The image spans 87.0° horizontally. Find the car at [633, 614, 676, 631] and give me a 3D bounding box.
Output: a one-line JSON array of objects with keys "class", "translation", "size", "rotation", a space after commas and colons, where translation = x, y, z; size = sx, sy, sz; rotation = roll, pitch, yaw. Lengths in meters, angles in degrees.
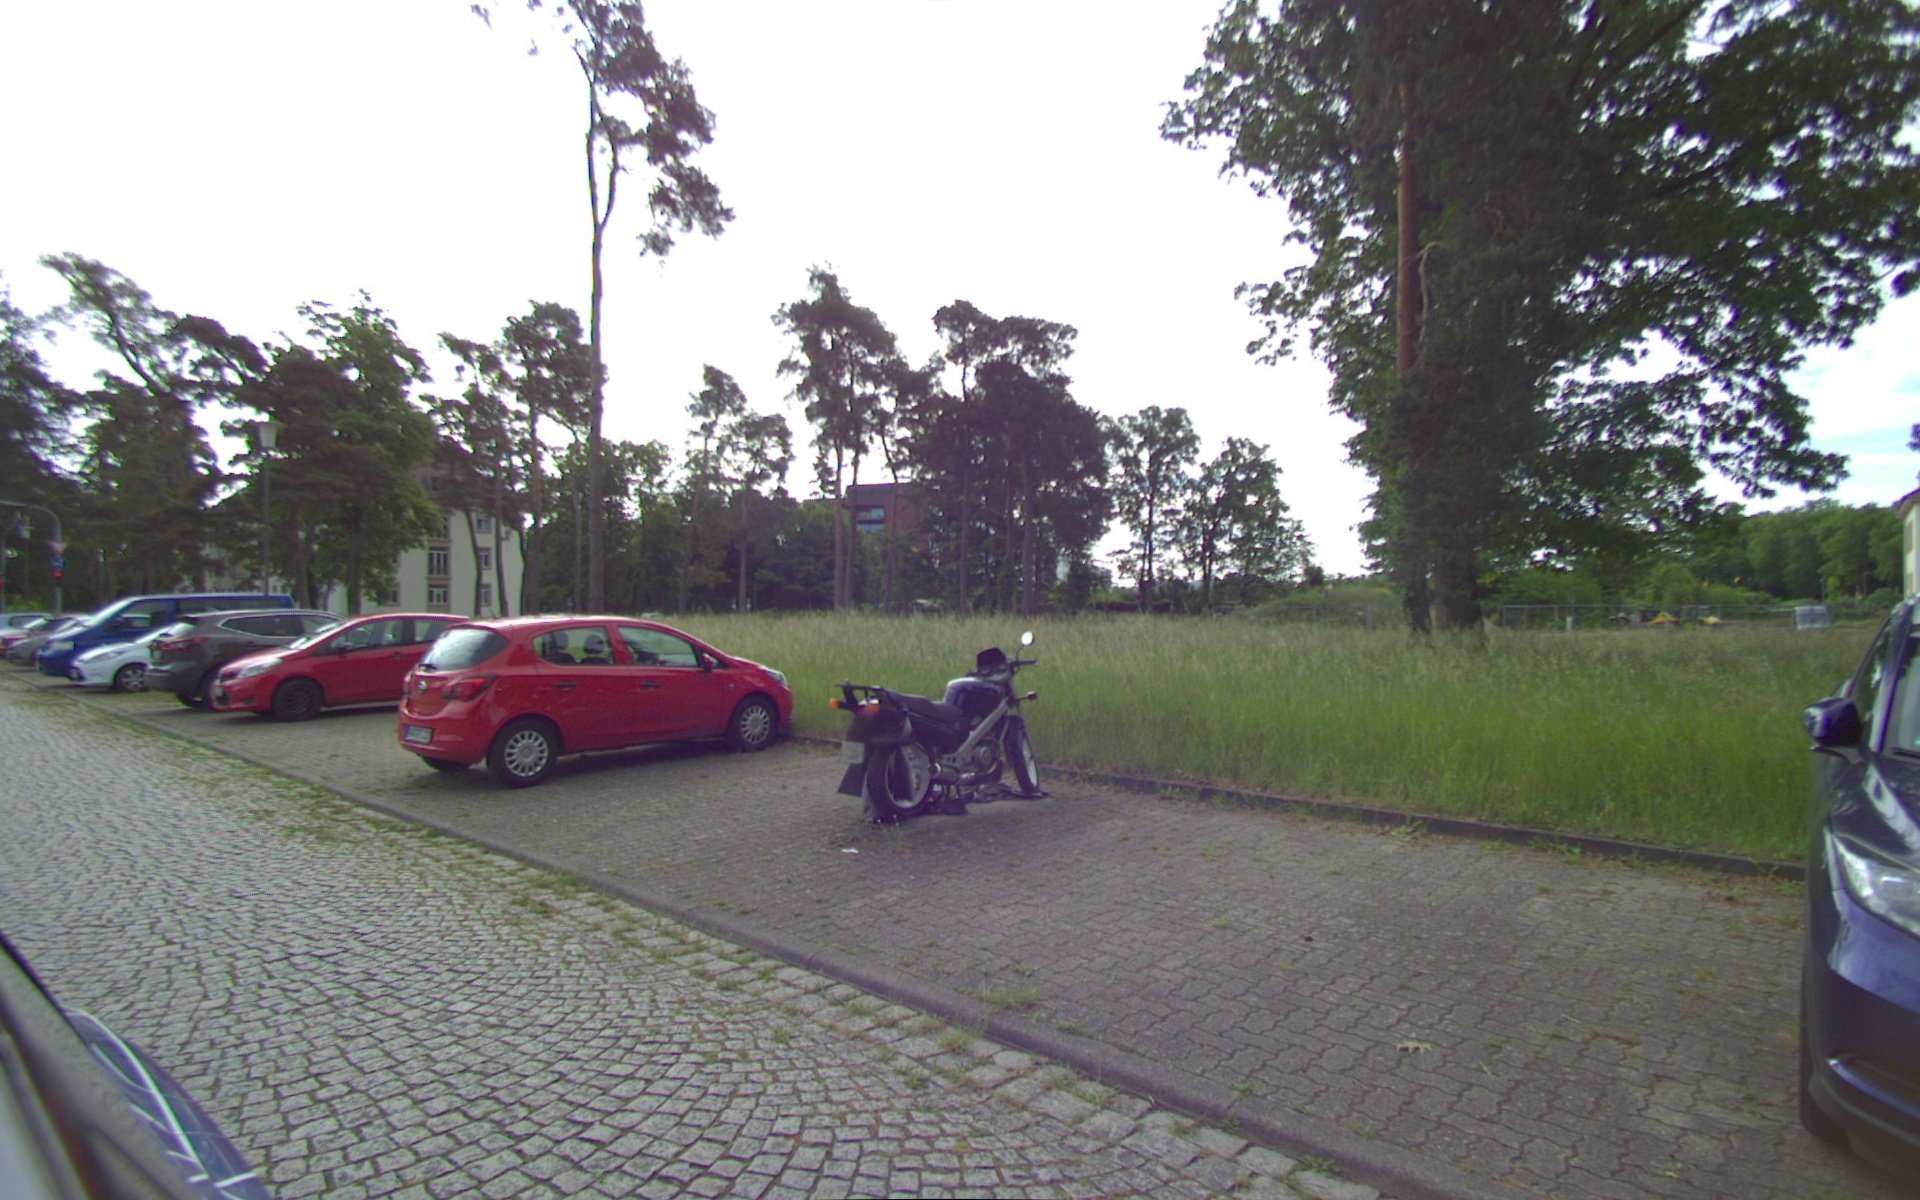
[{"class": "car", "translation": [-32.136, 2.357, 106.545], "size": [1.723, 1.820, 3.942], "rotation": [-1, -2, 44]}]

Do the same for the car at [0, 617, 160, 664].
[{"class": "car", "translation": [-29.681, 1.305, 34.015], "size": [1.864, 1.488, 4.123], "rotation": [-1, -1, 41]}]

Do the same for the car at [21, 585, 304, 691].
[{"class": "car", "translation": [-17.967, 0.815, 22.988], "size": [2.114, 2.138, 4.732], "rotation": [-1, -1, 41]}]

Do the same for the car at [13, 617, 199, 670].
[{"class": "car", "translation": [-25.864, 1.254, 30.744], "size": [1.845, 1.493, 4.121], "rotation": [-1, -1, 42]}]

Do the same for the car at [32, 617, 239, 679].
[{"class": "car", "translation": [-21.699, 1.211, 26.749], "size": [1.845, 1.509, 4.024], "rotation": [-1, -1, 42]}]

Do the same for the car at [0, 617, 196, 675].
[{"class": "car", "translation": [-24.103, 1.220, 28.314], "size": [1.865, 1.503, 4.120], "rotation": [-1, -1, 43]}]

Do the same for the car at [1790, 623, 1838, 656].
[{"class": "car", "translation": [60.562, 2.747, 71.818], "size": [1.995, 2.217, 4.980], "rotation": [-1, -1, 34]}]

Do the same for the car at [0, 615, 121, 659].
[{"class": "car", "translation": [-33.687, 1.333, 37.092], "size": [1.933, 1.560, 4.209], "rotation": [-1, -1, 38]}]

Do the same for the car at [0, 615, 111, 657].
[{"class": "car", "translation": [-35.525, 1.369, 39.097], "size": [1.904, 1.554, 3.946], "rotation": [-1, -1, 40]}]

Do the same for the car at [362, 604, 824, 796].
[{"class": "car", "translation": [-3.511, 0.838, 10.277], "size": [1.903, 1.536, 4.014], "rotation": [-1, -1, 40]}]

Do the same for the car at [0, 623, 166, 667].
[{"class": "car", "translation": [-28.076, 1.388, 32.247], "size": [1.831, 1.276, 4.120], "rotation": [-1, -1, 43]}]

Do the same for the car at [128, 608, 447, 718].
[{"class": "car", "translation": [-11.252, 0.967, 17.174], "size": [1.984, 1.634, 4.125], "rotation": [-1, -1, 39]}]

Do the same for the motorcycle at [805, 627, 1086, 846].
[{"class": "motorcycle", "translation": [-0.025, 0.889, 7.463], "size": [0.718, 1.301, 2.250], "rotation": [-1, 0, 42]}]

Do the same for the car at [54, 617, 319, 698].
[{"class": "car", "translation": [-16.077, 1.111, 21.211], "size": [1.780, 1.522, 4.124], "rotation": [-1, -1, 39]}]

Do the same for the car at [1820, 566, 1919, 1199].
[{"class": "car", "translation": [4.005, 0.693, 3.215], "size": [1.886, 1.589, 4.185], "rotation": [-1, 0, 40]}]

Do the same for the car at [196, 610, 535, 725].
[{"class": "car", "translation": [-8.996, 0.932, 15.591], "size": [1.906, 1.522, 4.123], "rotation": [-1, -1, 40]}]

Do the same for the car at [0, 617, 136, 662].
[{"class": "car", "translation": [-31.658, 1.339, 35.244], "size": [1.934, 1.519, 4.330], "rotation": [-1, -1, 39]}]
